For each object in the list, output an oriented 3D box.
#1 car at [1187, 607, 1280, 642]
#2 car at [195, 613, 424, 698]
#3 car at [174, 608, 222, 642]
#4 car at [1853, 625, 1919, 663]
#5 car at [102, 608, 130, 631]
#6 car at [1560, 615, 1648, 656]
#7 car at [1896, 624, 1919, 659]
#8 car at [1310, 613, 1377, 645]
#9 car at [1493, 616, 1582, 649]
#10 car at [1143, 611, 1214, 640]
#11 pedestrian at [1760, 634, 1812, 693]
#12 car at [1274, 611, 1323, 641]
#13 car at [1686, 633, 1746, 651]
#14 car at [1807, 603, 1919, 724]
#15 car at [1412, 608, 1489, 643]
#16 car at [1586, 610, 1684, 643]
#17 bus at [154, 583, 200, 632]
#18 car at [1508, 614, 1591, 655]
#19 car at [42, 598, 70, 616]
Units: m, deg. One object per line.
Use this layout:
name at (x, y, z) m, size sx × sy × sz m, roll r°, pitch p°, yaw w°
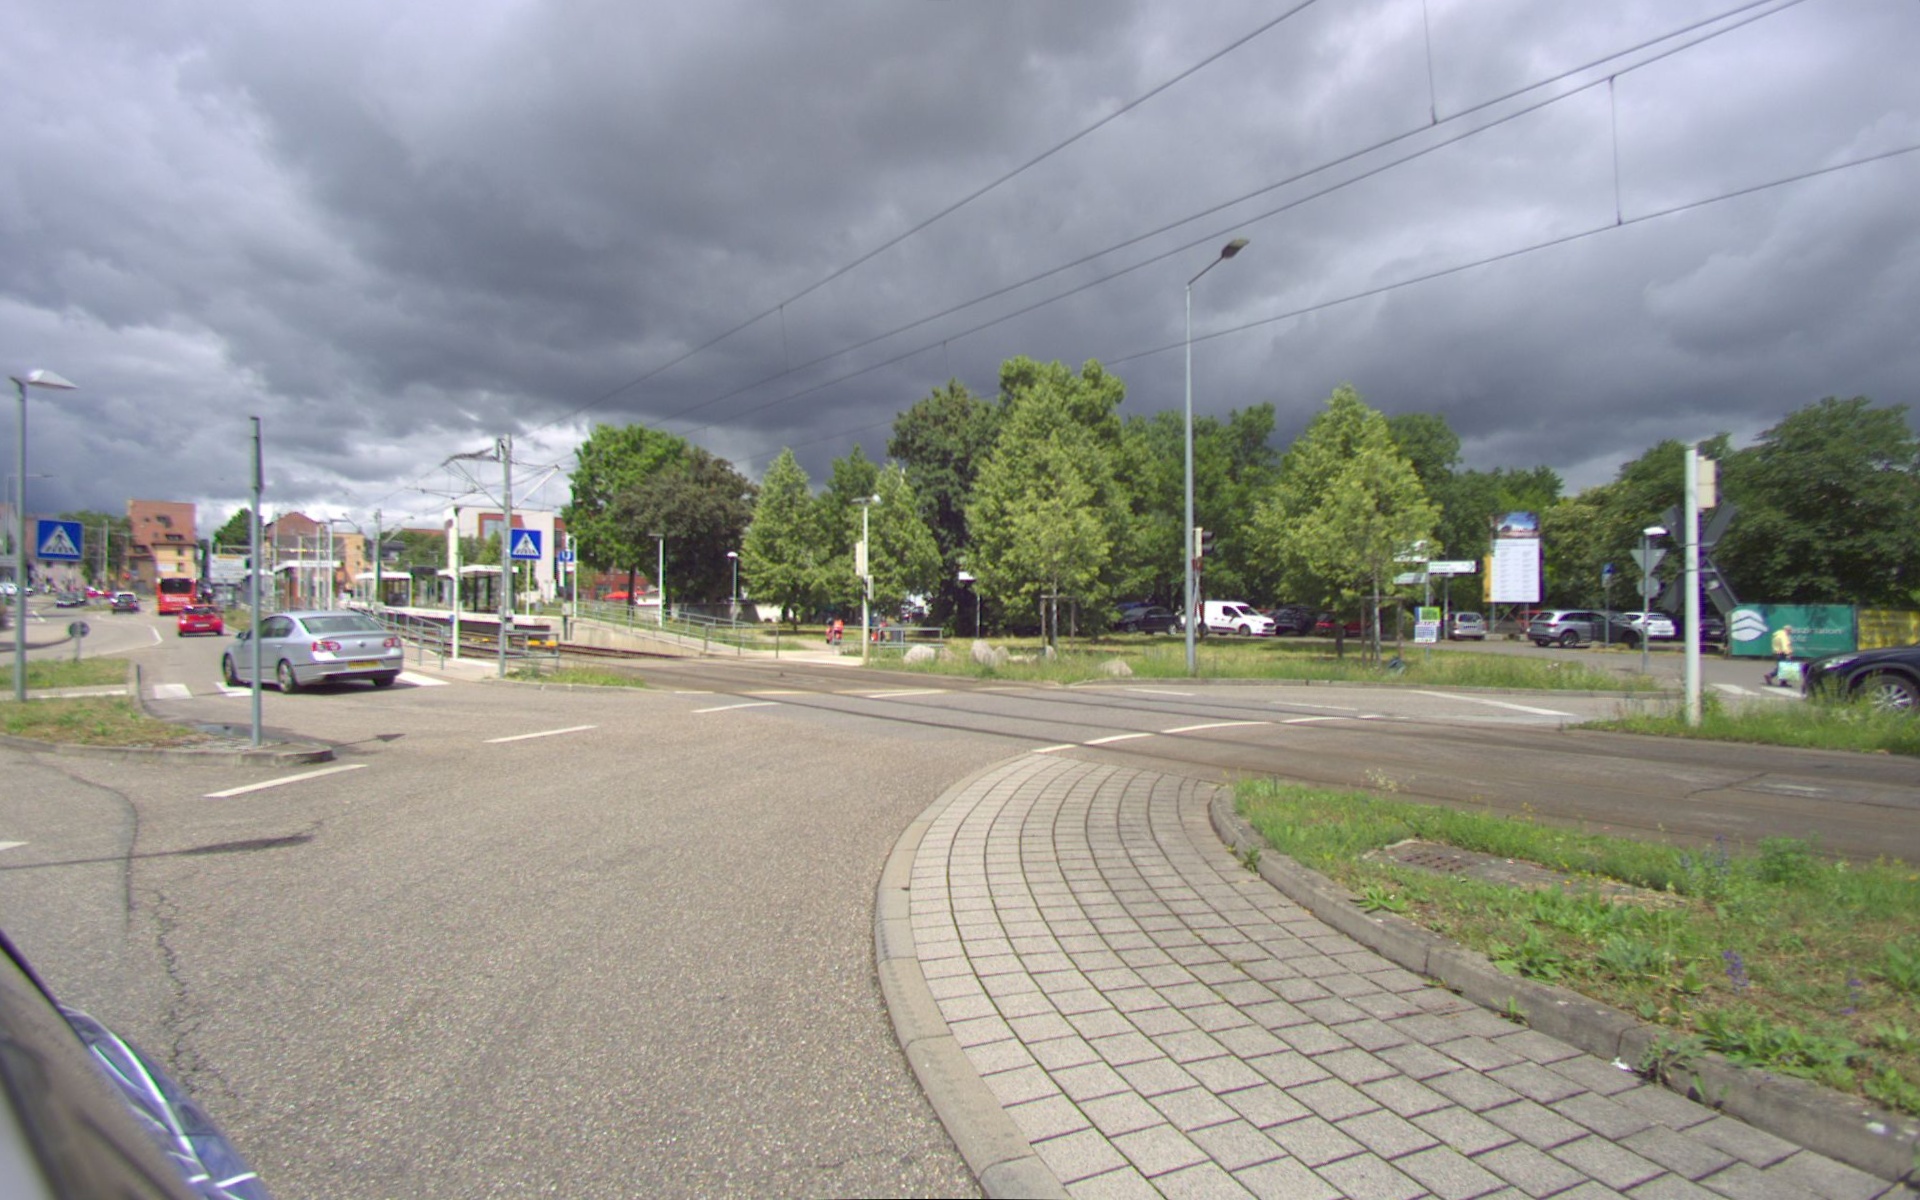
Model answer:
car at (13.881, 1.217, 51.570) m, size 1.715 × 1.702 × 4.358 m, roll -1°, pitch 0°, yaw -40°
car at (-12.351, 0.964, 19.124) m, size 4.647 × 1.392 × 1.920 m, roll 0°, pitch 0°, yaw 33°
car at (-35.880, 1.136, 47.623) m, size 1.712 × 1.521 × 3.522 m, roll -1°, pitch 0°, yaw -38°
car at (38.627, 1.771, 40.606) m, size 1.730 × 1.431 × 4.007 m, roll -1°, pitch 0°, yaw -8°
car at (-73.854, 1.687, 88.615) m, size 1.822 × 1.942 × 3.784 m, roll 1°, pitch -2°, yaw -39°
car at (28.868, 1.555, 45.485) m, size 1.977 × 1.602 × 3.576 m, roll 1°, pitch 1°, yaw 8°
car at (40.660, 1.736, 40.852) m, size 1.730 × 1.431 × 4.007 m, roll -1°, pitch 0°, yaw -8°
car at (20.485, 1.557, 54.015) m, size 3.559 × 1.602 × 1.633 m, roll 2°, pitch -2°, yaw -35°
car at (29.783, 1.682, 52.324) m, size 1.966 × 1.602 × 3.595 m, roll 2°, pitch -2°, yaw -17°
car at (13.026, 1.492, 60.388) m, size 3.901 × 1.652 × 1.572 m, roll 0°, pitch 0°, yaw 40°
pedestrian at (21.258, 1.617, 26.057) m, size 0.744 × 1.468 × 0.891 m, roll -1°, pitch 0°, yaw 19°
car at (18.691, 1.456, 55.817) m, size 1.626 × 1.602 × 3.575 m, roll 0°, pitch -2°, yaw 36°
car at (38.336, 2.136, 51.319) m, size 2.215 × 0.875 × 1.128 m, roll 1°, pitch -2°, yaw -3°
car at (14.081, 0.862, 13.360) m, size 4.327 × 1.597 × 1.832 m, roll -1°, pitch -3°, yaw 44°
car at (24.630, 1.260, 50.953) m, size 1.972 × 1.697 × 3.998 m, roll 0°, pitch -1°, yaw 1°
car at (35.062, 1.403, 52.703) m, size 1.967 × 1.604 × 4.009 m, roll 1°, pitch -2°, yaw -11°
bus at (-66.348, 0.720, 85.899) m, size 2.878 × 3.916 × 10.400 m, roll 1°, pitch -2°, yaw -37°
car at (26.289, 1.488, 45.287) m, size 1.977 × 1.602 × 3.576 m, roll 1°, pitch 1°, yaw 8°
car at (-96.642, 0.743, 108.236) m, size 1.968 × 1.874 × 4.007 m, roll 1°, pitch -2°, yaw -39°
